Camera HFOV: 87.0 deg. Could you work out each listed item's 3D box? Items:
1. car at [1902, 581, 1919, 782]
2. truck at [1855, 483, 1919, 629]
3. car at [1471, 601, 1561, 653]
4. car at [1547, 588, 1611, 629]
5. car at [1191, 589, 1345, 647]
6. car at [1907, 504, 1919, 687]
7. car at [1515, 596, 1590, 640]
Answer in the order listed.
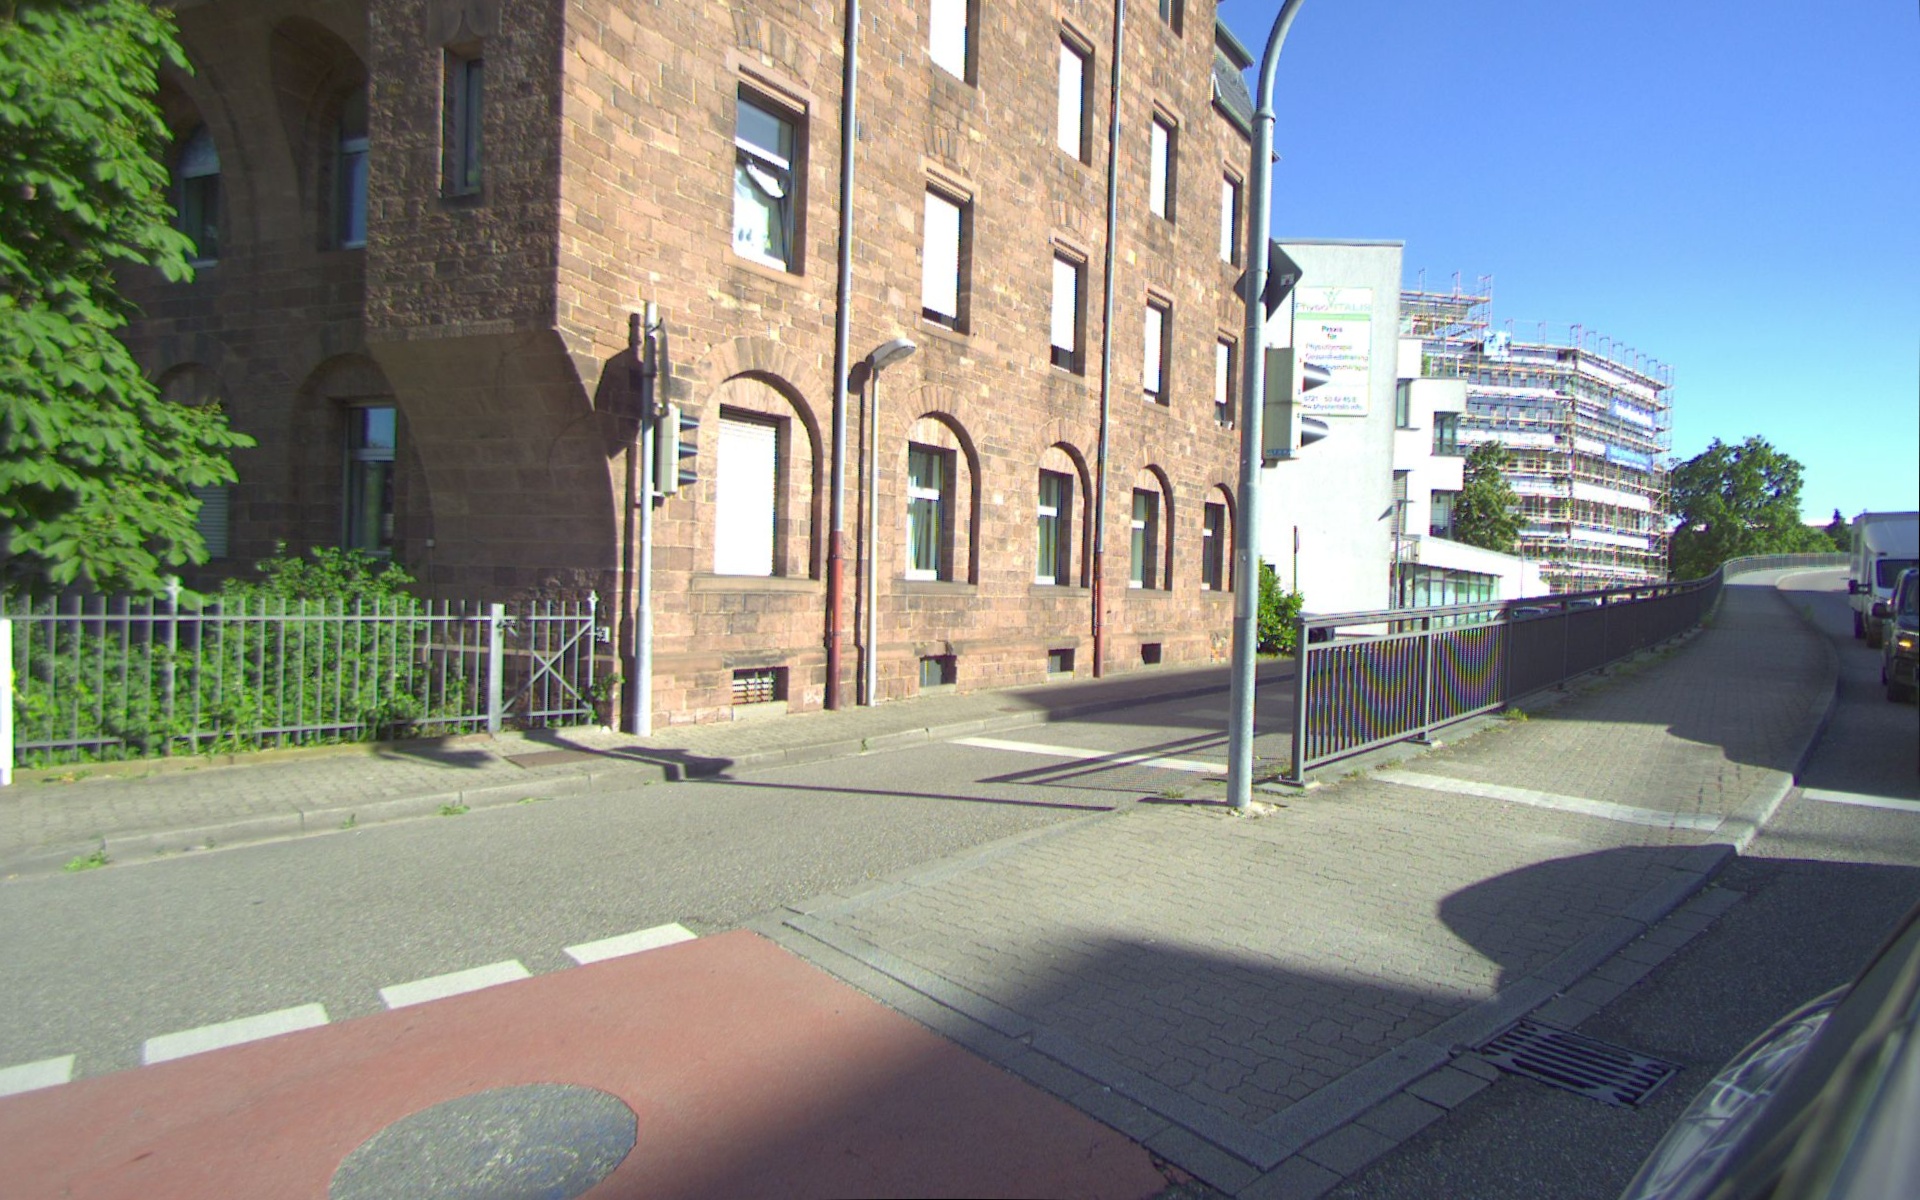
[{"bbox_3d":[9.297,0.621,8.532,1.875,1.489,4.562,3,2,44],"label":"car"},{"bbox_3d":[23.317,-0.916,24.377,2.495,3.167,6.855,2,1,41],"label":"truck"},{"bbox_3d":[18.588,0.857,33.752,2.043,1.551,4.036,2,0,38],"label":"car"},{"bbox_3d":[27.611,0.364,45.082,2.043,1.707,4.037,2,0,37],"label":"car"},{"bbox_3d":[9.119,0.504,30.219,4.020,1.551,1.917,2,0,5],"label":"car"},{"bbox_3d":[14.261,0.002,13.753,1.945,2.290,4.710,2,1,43],"label":"car"},{"bbox_3d":[23.109,0.682,39.417,2.043,1.551,4.037,2,0,37],"label":"car"}]
